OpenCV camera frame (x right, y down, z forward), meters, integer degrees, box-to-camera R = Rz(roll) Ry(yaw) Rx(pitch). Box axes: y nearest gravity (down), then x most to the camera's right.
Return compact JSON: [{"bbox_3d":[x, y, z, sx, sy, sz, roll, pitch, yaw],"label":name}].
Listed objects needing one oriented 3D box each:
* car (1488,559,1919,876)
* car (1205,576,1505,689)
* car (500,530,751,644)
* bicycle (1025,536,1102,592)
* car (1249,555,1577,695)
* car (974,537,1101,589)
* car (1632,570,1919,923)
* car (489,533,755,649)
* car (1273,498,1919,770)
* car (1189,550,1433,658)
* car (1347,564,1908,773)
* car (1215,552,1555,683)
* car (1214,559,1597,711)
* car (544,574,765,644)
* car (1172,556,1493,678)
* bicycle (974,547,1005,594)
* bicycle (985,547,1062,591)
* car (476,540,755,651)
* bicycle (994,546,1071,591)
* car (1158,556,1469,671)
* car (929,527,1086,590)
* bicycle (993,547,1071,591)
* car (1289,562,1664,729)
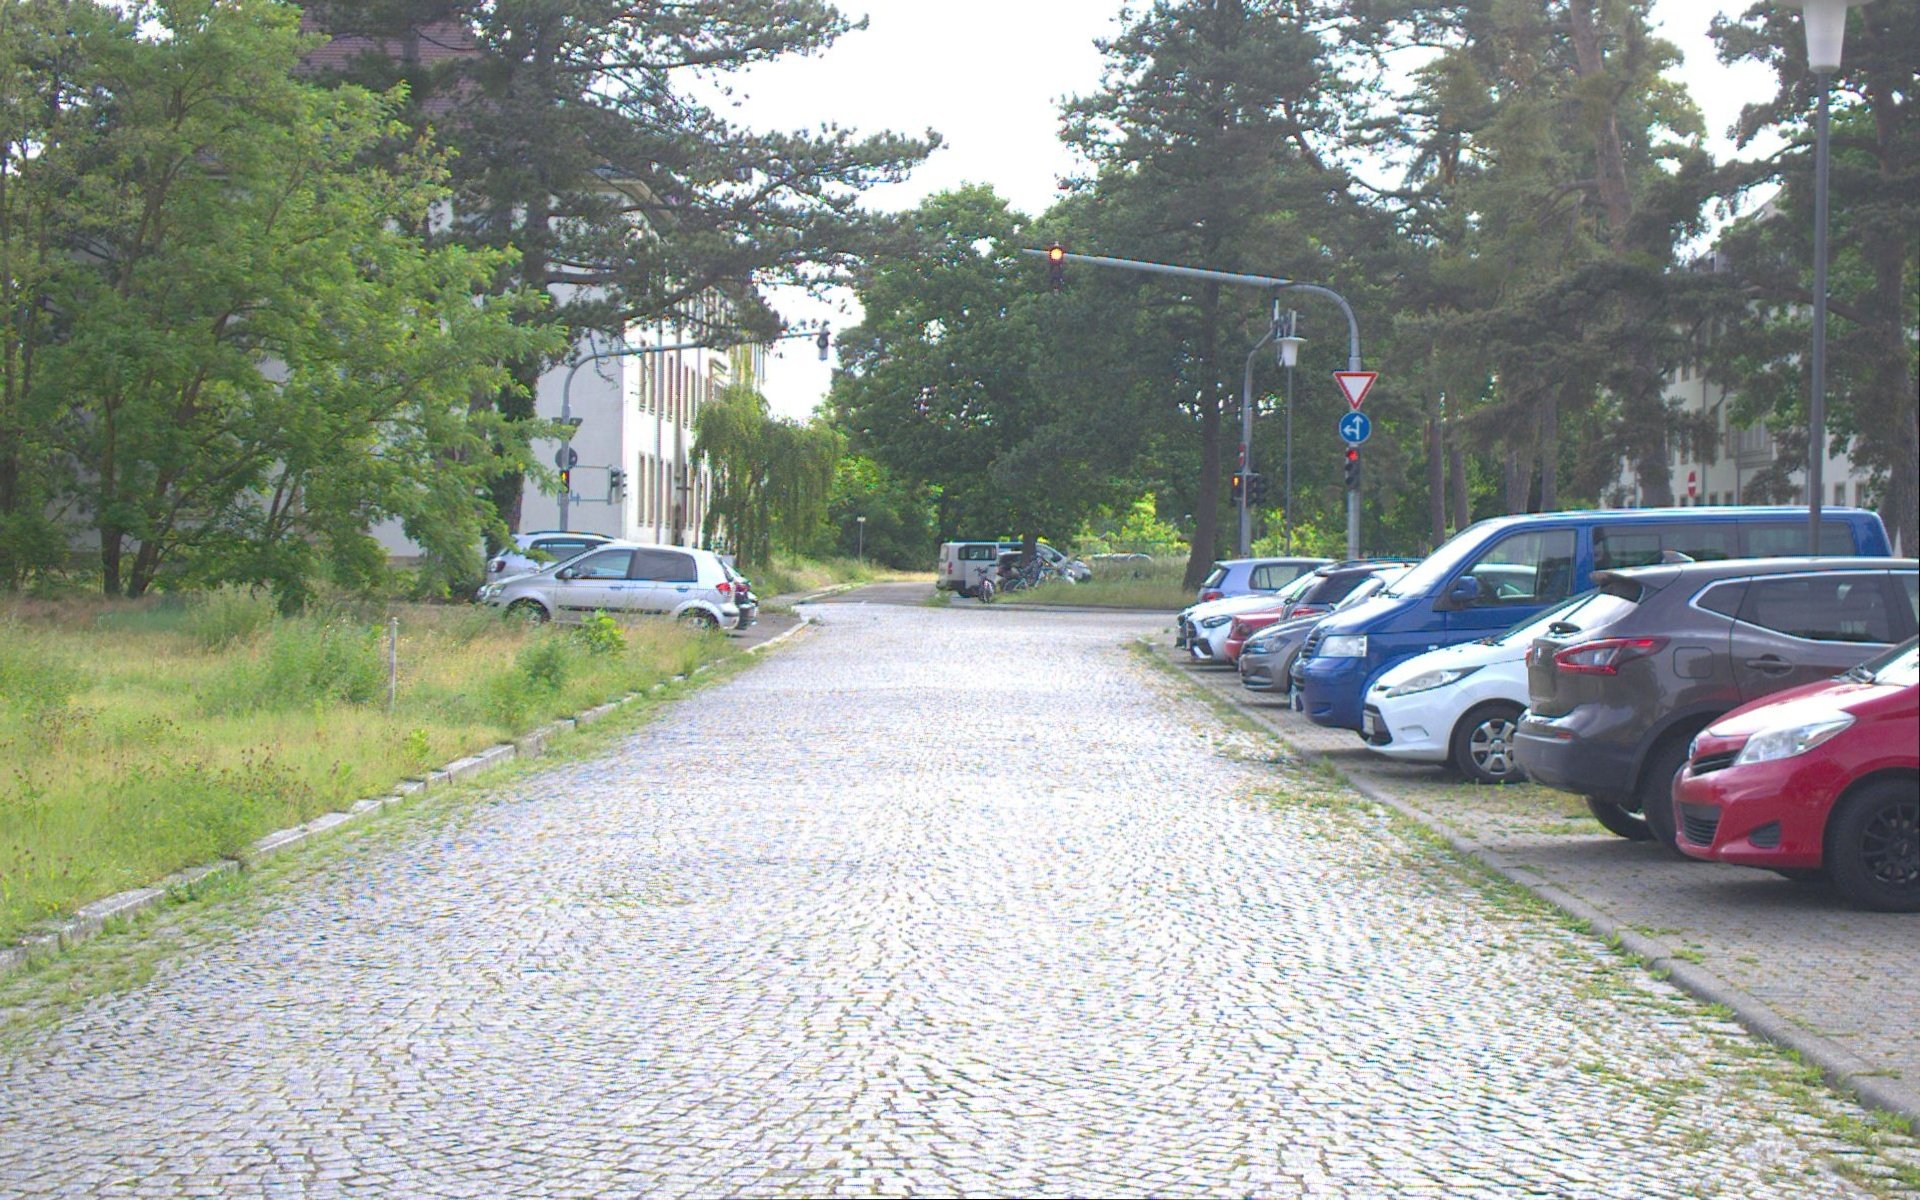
[{"bbox_3d":[4.987,0.616,18.544,3.950,1.575,1.762,1,1,-1],"label":"car"},{"bbox_3d":[4.729,0.383,41.413,3.291,1.263,1.664,1,1,-5],"label":"car"},{"bbox_3d":[-5.474,-0.226,56.156,3.986,1.744,1.927,1,1,-6],"label":"car"},{"bbox_3d":[3.047,-1.058,101.566,2.160,1.610,0.812,1,1,-6],"label":"bicycle"},{"bbox_3d":[5.084,0.271,38.784,3.291,1.499,1.665,1,1,-10],"label":"car"},{"bbox_3d":[2.575,-1.245,114.821,3.986,1.638,2.000,1,1,-5],"label":"car"},{"bbox_3d":[5.289,0.659,15.930,3.987,1.513,1.738,1,1,1],"label":"car"},{"bbox_3d":[-5.211,-0.157,53.069,3.986,1.700,2.000,1,1,-5],"label":"car"},{"bbox_3d":[5.001,0.244,27.430,4.782,2.033,1.738,1,1,-1],"label":"car"},{"bbox_3d":[5.216,0.049,51.270,3.388,1.538,1.391,1,1,-5],"label":"car"},{"bbox_3d":[4.789,0.470,24.978,3.722,1.419,1.655,0,1,-2],"label":"car"},{"bbox_3d":[5.364,0.211,43.650,3.986,1.538,1.664,1,1,-5],"label":"car"},{"bbox_3d":[4.614,0.354,35.819,3.597,1.501,1.665,1,1,-10],"label":"car"},{"bbox_3d":[-5.182,0.148,58.373,3.670,1.090,1.647,1,1,-5],"label":"car"},{"bbox_3d":[4.940,0.213,45.888,3.986,1.538,1.664,1,1,-5],"label":"car"},{"bbox_3d":[0.837,-0.837,96.538,0.810,1.264,1.973,1,1,1],"label":"bicycle"},{"bbox_3d":[1.877,-0.930,102.086,2.160,1.264,0.812,1,1,-6],"label":"bicycle"},{"bbox_3d":[-5.058,-0.077,50.580,3.986,1.546,2.000,1,1,-5],"label":"car"},{"bbox_3d":[2.110,-0.911,100.282,2.160,1.264,0.812,1,1,-6],"label":"bicycle"},{"bbox_3d":[4.974,0.180,48.704,4.122,1.538,1.664,1,1,-5],"label":"car"},{"bbox_3d":[1.627,-1.432,118.108,5.049,2.007,2.001,1,1,-10],"label":"car"},{"bbox_3d":[2.109,-0.914,100.869,2.160,1.264,0.812,1,1,-6],"label":"bicycle"},{"bbox_3d":[4.923,0.421,33.049,3.292,1.499,1.664,1,1,-1],"label":"car"}]
